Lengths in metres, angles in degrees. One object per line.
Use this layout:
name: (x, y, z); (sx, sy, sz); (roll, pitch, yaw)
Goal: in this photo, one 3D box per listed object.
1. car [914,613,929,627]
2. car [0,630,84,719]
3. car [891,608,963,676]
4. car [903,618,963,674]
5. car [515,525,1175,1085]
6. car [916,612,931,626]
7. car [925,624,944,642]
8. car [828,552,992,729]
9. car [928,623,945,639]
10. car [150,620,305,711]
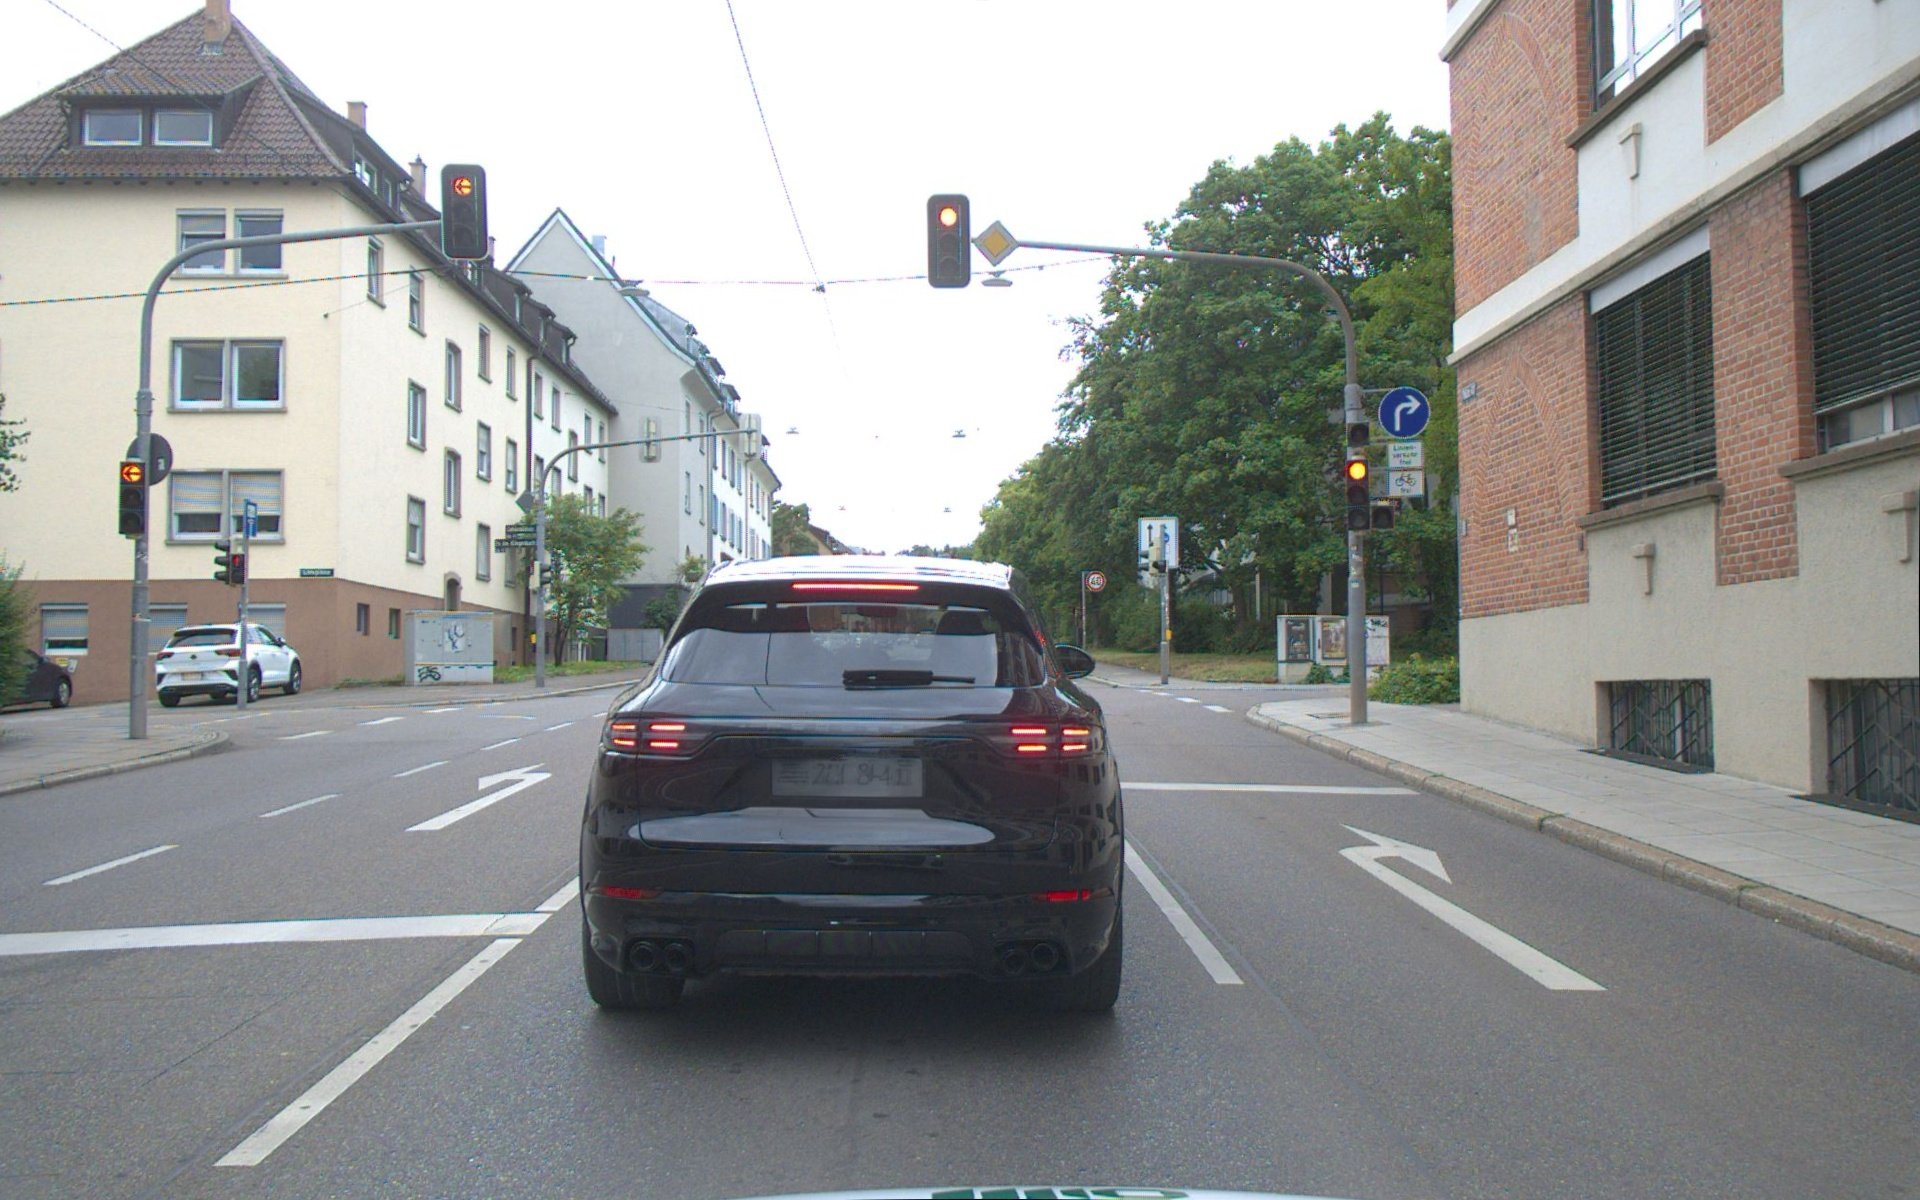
car: (-4.723, 2.428, 202.842); (1.790, 1.633, 4.134); (1, 0, -1)
car: (-19.633, 1.516, 33.764); (1.658, 1.636, 3.762); (-3, 0, -5)
car: (-0.843, 1.074, 43.799); (1.790, 1.633, 4.134); (1, 0, -1)
car: (-0.848, 1.426, 52.512); (1.790, 1.633, 3.858); (1, 0, -1)
car: (-0.370, 0.629, 7.241); (2.007, 1.695, 4.266); (1, 0, -1)
car: (-4.650, 2.376, 210.170); (1.790, 1.633, 4.134); (1, 0, -1)
car: (-2.532, 3.248, 163.227); (1.790, 1.633, 4.134); (1, 0, -1)
car: (-0.622, 0.480, 21.887); (1.925, 2.078, 4.134); (1, 0, -1)
car: (-2.604, 3.409, 182.399); (1.790, 1.633, 4.134); (1, 0, -1)
car: (-14.723, 1.271, 33.448); (1.658, 1.582, 3.762); (-3, 0, -5)
